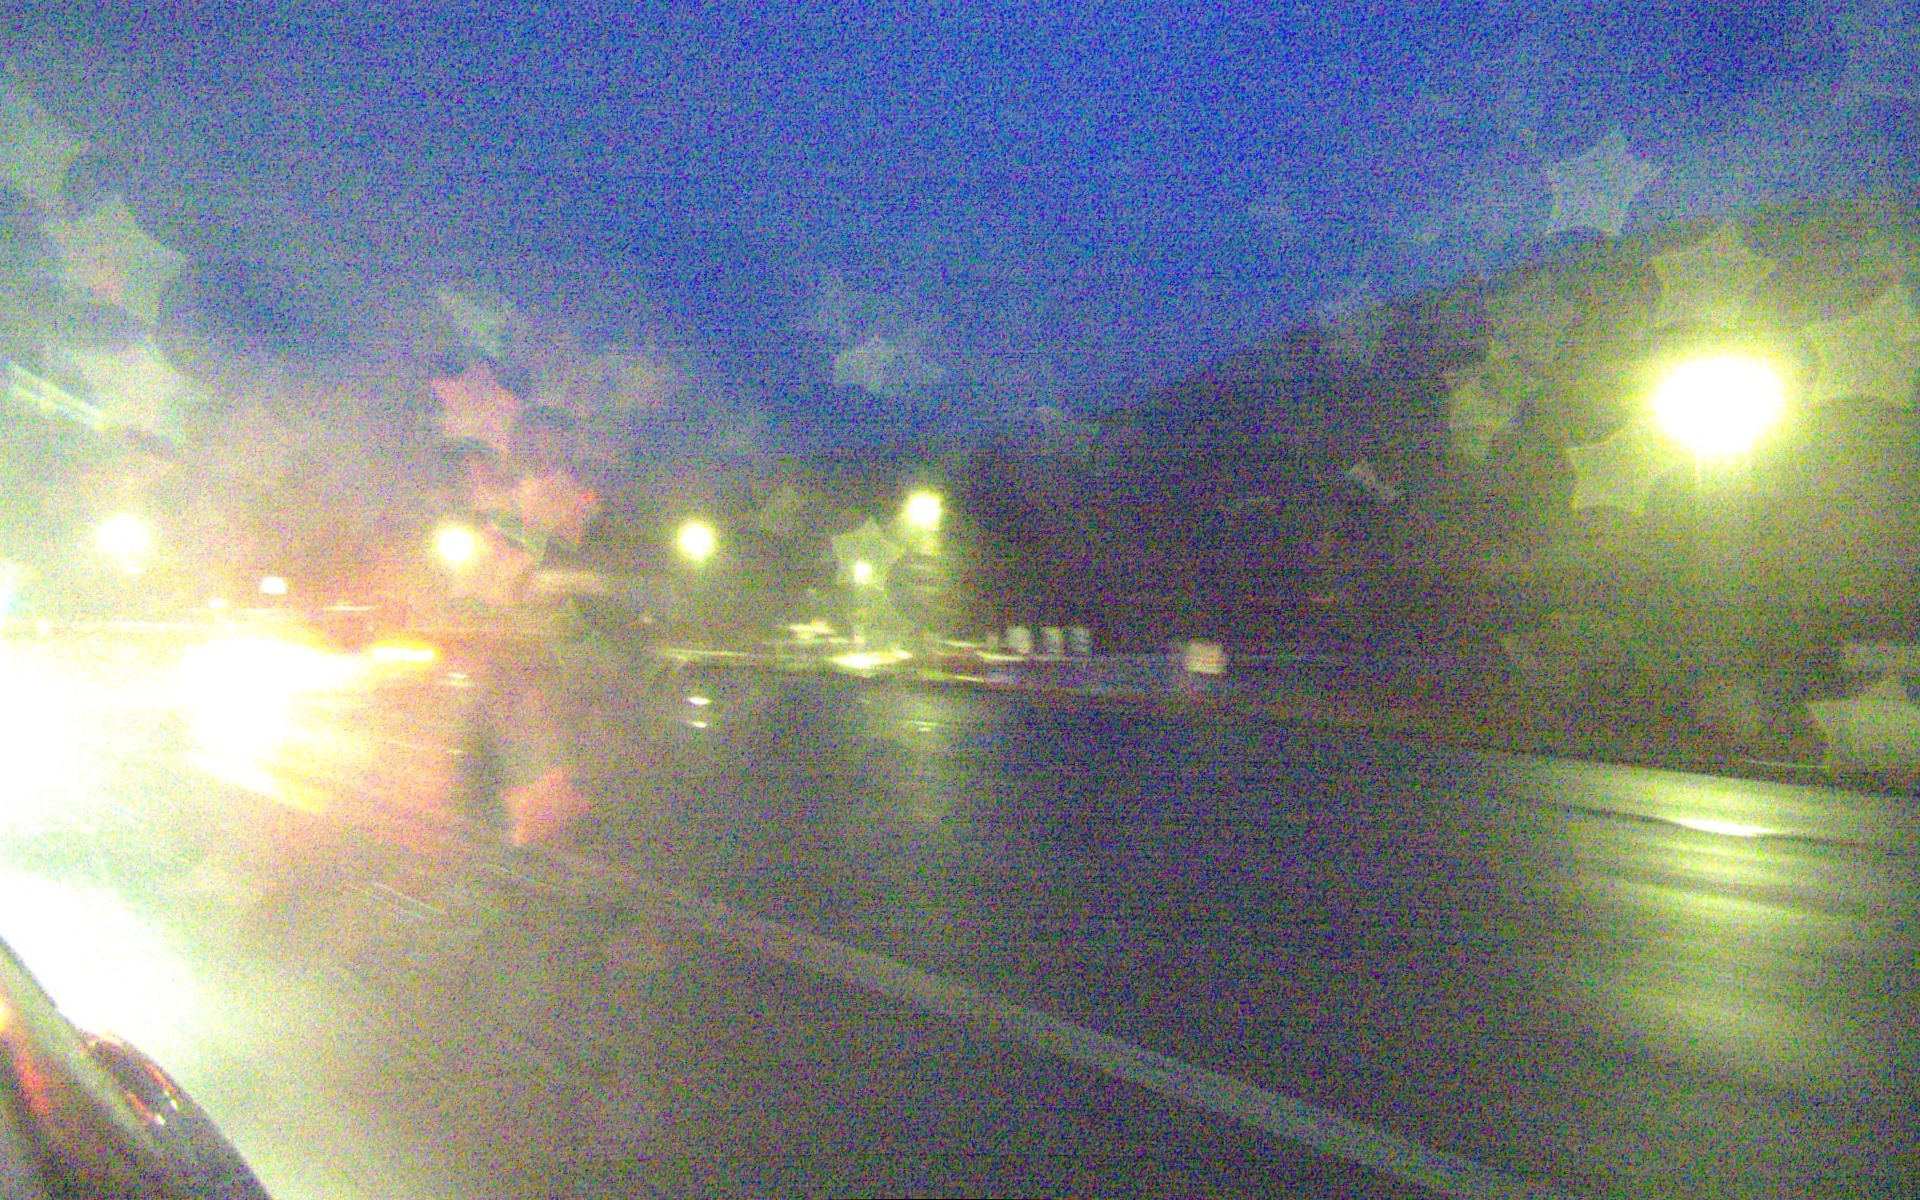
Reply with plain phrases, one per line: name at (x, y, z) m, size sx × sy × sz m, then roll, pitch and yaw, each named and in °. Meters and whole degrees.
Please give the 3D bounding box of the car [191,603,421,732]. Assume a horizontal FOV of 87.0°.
car at (-8.930, 0.797, 13.709) m, size 3.858 × 1.502 × 1.635 m, roll 0°, pitch 0°, yaw 41°
